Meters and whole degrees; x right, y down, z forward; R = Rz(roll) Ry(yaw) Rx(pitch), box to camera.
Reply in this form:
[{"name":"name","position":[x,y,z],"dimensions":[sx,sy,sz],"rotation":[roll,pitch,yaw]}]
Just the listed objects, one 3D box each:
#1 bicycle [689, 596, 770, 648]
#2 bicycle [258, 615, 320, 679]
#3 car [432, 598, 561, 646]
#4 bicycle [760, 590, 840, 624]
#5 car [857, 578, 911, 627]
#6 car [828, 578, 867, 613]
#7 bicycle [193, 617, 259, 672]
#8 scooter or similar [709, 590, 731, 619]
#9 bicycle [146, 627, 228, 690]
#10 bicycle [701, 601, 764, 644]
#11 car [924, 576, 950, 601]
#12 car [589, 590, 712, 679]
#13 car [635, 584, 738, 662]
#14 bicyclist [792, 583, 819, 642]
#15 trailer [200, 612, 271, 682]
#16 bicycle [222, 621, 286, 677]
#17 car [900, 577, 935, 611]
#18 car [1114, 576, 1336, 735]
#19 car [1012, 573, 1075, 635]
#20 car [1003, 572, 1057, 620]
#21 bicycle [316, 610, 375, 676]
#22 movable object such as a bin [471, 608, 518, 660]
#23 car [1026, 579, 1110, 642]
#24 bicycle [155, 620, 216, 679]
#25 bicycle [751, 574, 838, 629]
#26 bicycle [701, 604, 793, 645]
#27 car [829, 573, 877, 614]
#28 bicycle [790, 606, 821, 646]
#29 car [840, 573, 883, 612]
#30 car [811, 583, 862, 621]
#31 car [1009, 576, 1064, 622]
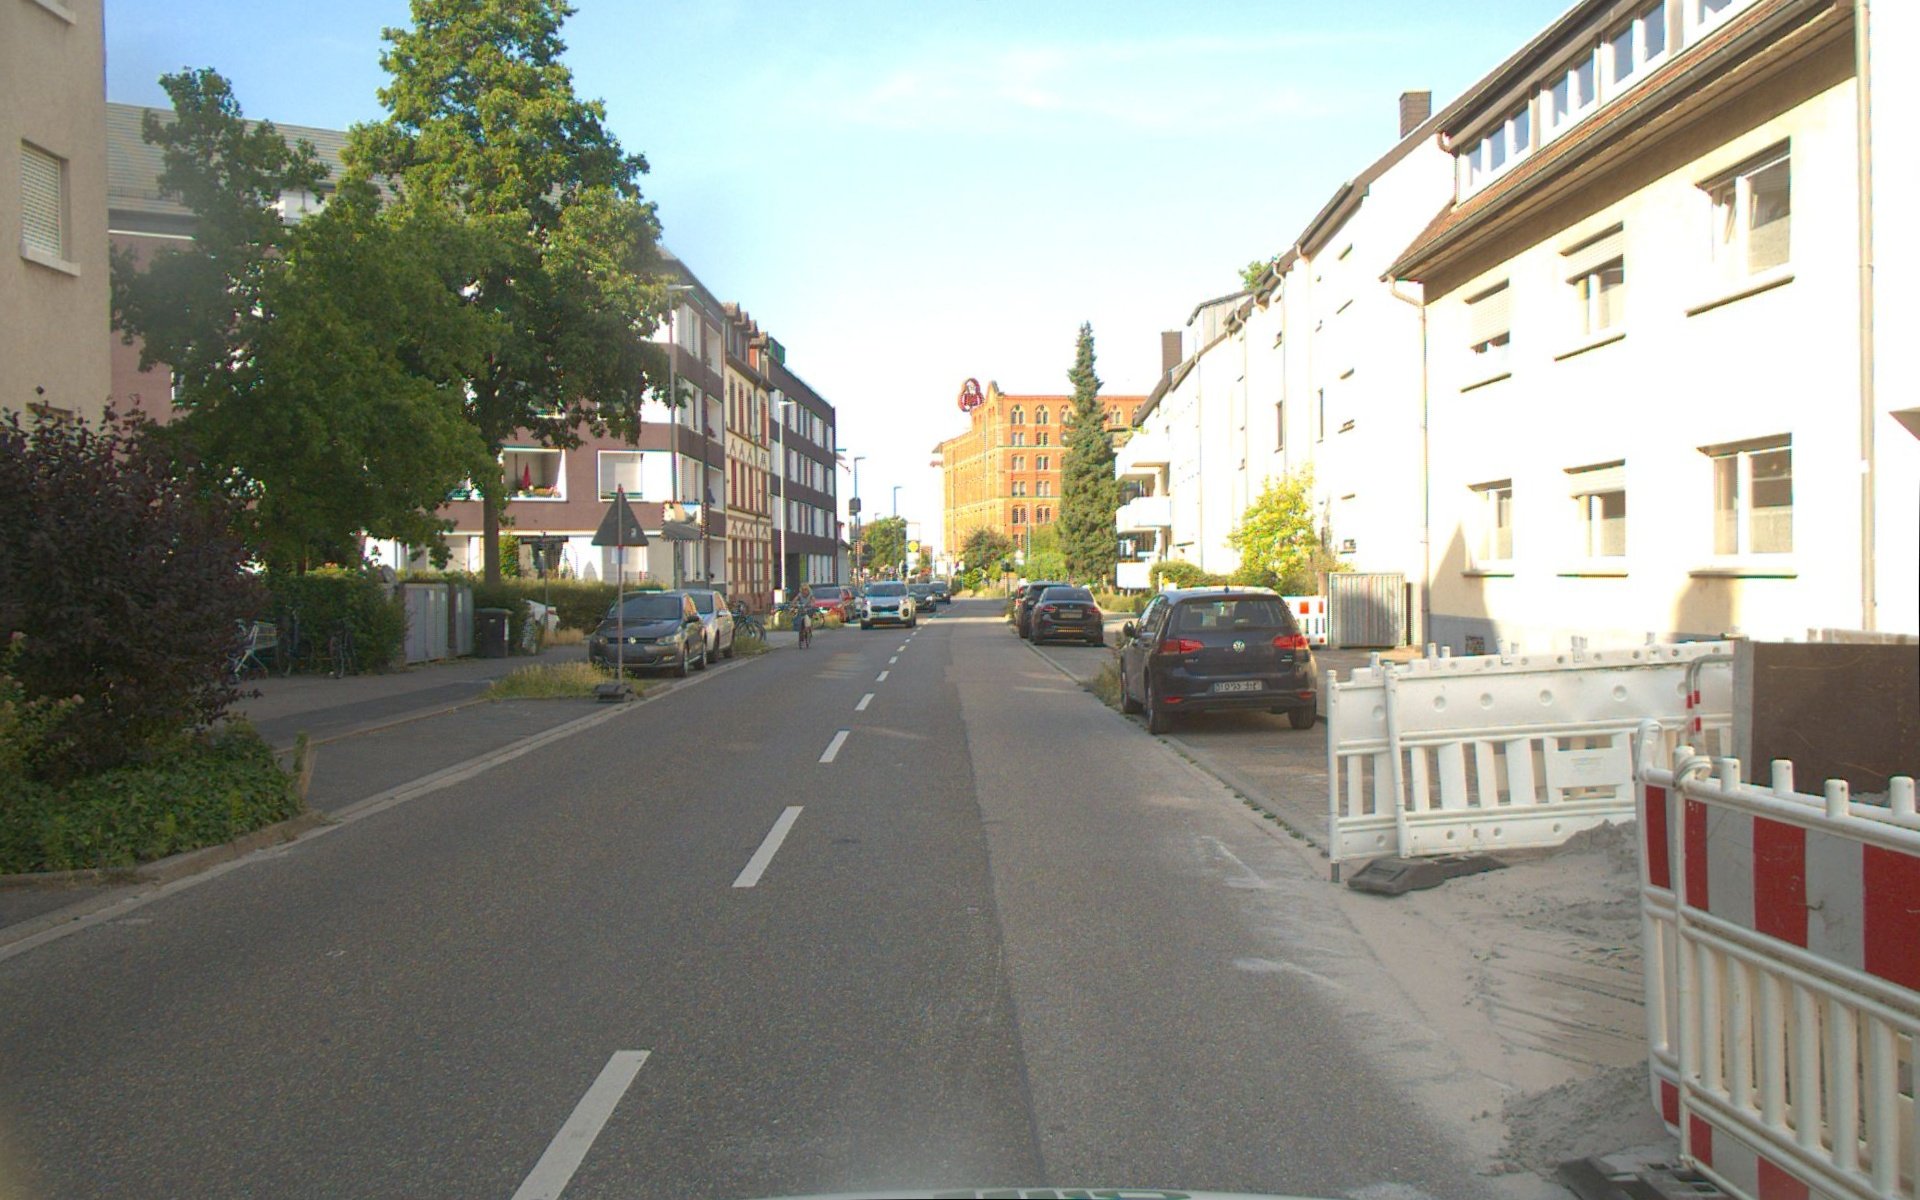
[{"name":"bicycle","position":[-5.721,0.534,41.155],"dimensions":[1.962,1.238,0.707],"rotation":[-1,0,-6]},{"name":"bicycle","position":[-11.183,0.768,27.609],"dimensions":[0.452,1.011,1.681],"rotation":[-1,1,-4]},{"name":"car","position":[-13.897,0.635,49.636],"dimensions":[3.414,1.310,1.646],"rotation":[-1,1,-33]},{"name":"bicycle","position":[-5.770,0.242,59.761],"dimensions":[2.716,1.164,1.143],"rotation":[-1,0,0]},{"name":"car","position":[-2.690,0.063,59.066],"dimensions":[1.728,1.644,4.000],"rotation":[-2,1,-1]},{"name":"car","position":[-6.365,-0.277,94.100],"dimensions":[1.953,1.914,4.000],"rotation":[-1,1,0]},{"name":"bicycle","position":[-12.318,0.736,27.794],"dimensions":[0.452,0.866,1.681],"rotation":[-1,1,-4]},{"name":"scooter or similar","position":[-9.526,0.171,65.784],"dimensions":[0.620,1.123,1.610],"rotation":[1,1,0]},{"name":"bicycle","position":[-11.853,0.884,25.340],"dimensions":[1.423,0.866,0.462],"rotation":[2,2,33]},{"name":"bicycle","position":[-5.870,0.571,42.743],"dimensions":[1.554,1.059,0.707],"rotation":[-1,0,-6]},{"name":"car","position":[-1.626,-0.826,115.938],"dimensions":[1.728,1.644,4.000],"rotation":[-2,1,-1]},{"name":"car","position":[-5.432,0.563,29.413],"dimensions":[1.541,1.445,3.803],"rotation":[0,1,-1]},{"name":"car","position":[-5.752,0.441,35.162],"dimensions":[1.642,1.528,3.999],"rotation":[-1,1,-2]},{"name":"bicyclist","position":[-3.899,0.310,41.822],"dimensions":[0.578,1.467,0.751],"rotation":[-1,0,0]},{"name":"trailer","position":[-11.444,0.736,26.156],"dimensions":[0.571,1.075,0.910],"rotation":[-1,0,15]},{"name":"bicycle","position":[-11.819,0.800,27.732],"dimensions":[0.452,0.866,1.681],"rotation":[-1,1,-4]},{"name":"car","position":[-2.192,-0.327,86.155],"dimensions":[1.728,1.644,4.000],"rotation":[-2,1,-1]},{"name":"car","position":[2.785,0.519,18.205],"dimensions":[1.792,1.508,3.943],"rotation":[-2,1,0]},{"name":"car","position":[2.400,0.094,48.004],"dimensions":[1.569,1.674,3.684],"rotation":[-1,0,-1]},{"name":"car","position":[2.704,-0.164,65.056],"dimensions":[1.953,1.803,4.000],"rotation":[-1,1,0]},{"name":"bicycle","position":[-10.364,0.707,27.940],"dimensions":[0.452,1.041,1.681],"rotation":[-1,1,-4]},{"name":"movable object such as a bin","position":[-9.972,0.721,35.426],"dimensions":[0.736,1.058,0.816],"rotation":[2,0,0]},{"name":"car","position":[2.744,0.240,42.705],"dimensions":[1.821,1.497,3.999],"rotation":[-1,0,-1]},{"name":"bicycle","position":[-12.363,0.779,26.389],"dimensions":[1.218,0.897,0.460],"rotation":[0,1,43]},{"name":"bicycle","position":[-5.765,0.046,57.844],"dimensions":[2.858,1.808,1.202],"rotation":[-1,0,0]},{"name":"bicycle","position":[-5.401,0.607,42.036],"dimensions":[2.295,0.987,0.707],"rotation":[-1,0,-6]},{"name":"car","position":[-5.063,-0.308,78.484],"dimensions":[1.952,1.867,3.689],"rotation":[-1,0,0]},{"name":"bicycle","position":[-3.893,0.640,41.754],"dimensions":[0.596,0.959,1.811],"rotation":[-1,1,1]},{"name":"car","position":[-5.194,-0.408,87.678],"dimensions":[1.952,1.940,4.000],"rotation":[-1,0,0]},{"name":"car","position":[-5.014,0.051,67.583],"dimensions":[1.802,1.489,3.584],"rotation":[-1,1,0]},{"name":"car","position":[2.730,-0.041,59.909],"dimensions":[1.728,1.552,4.000],"rotation":[-2,1,-1]}]
